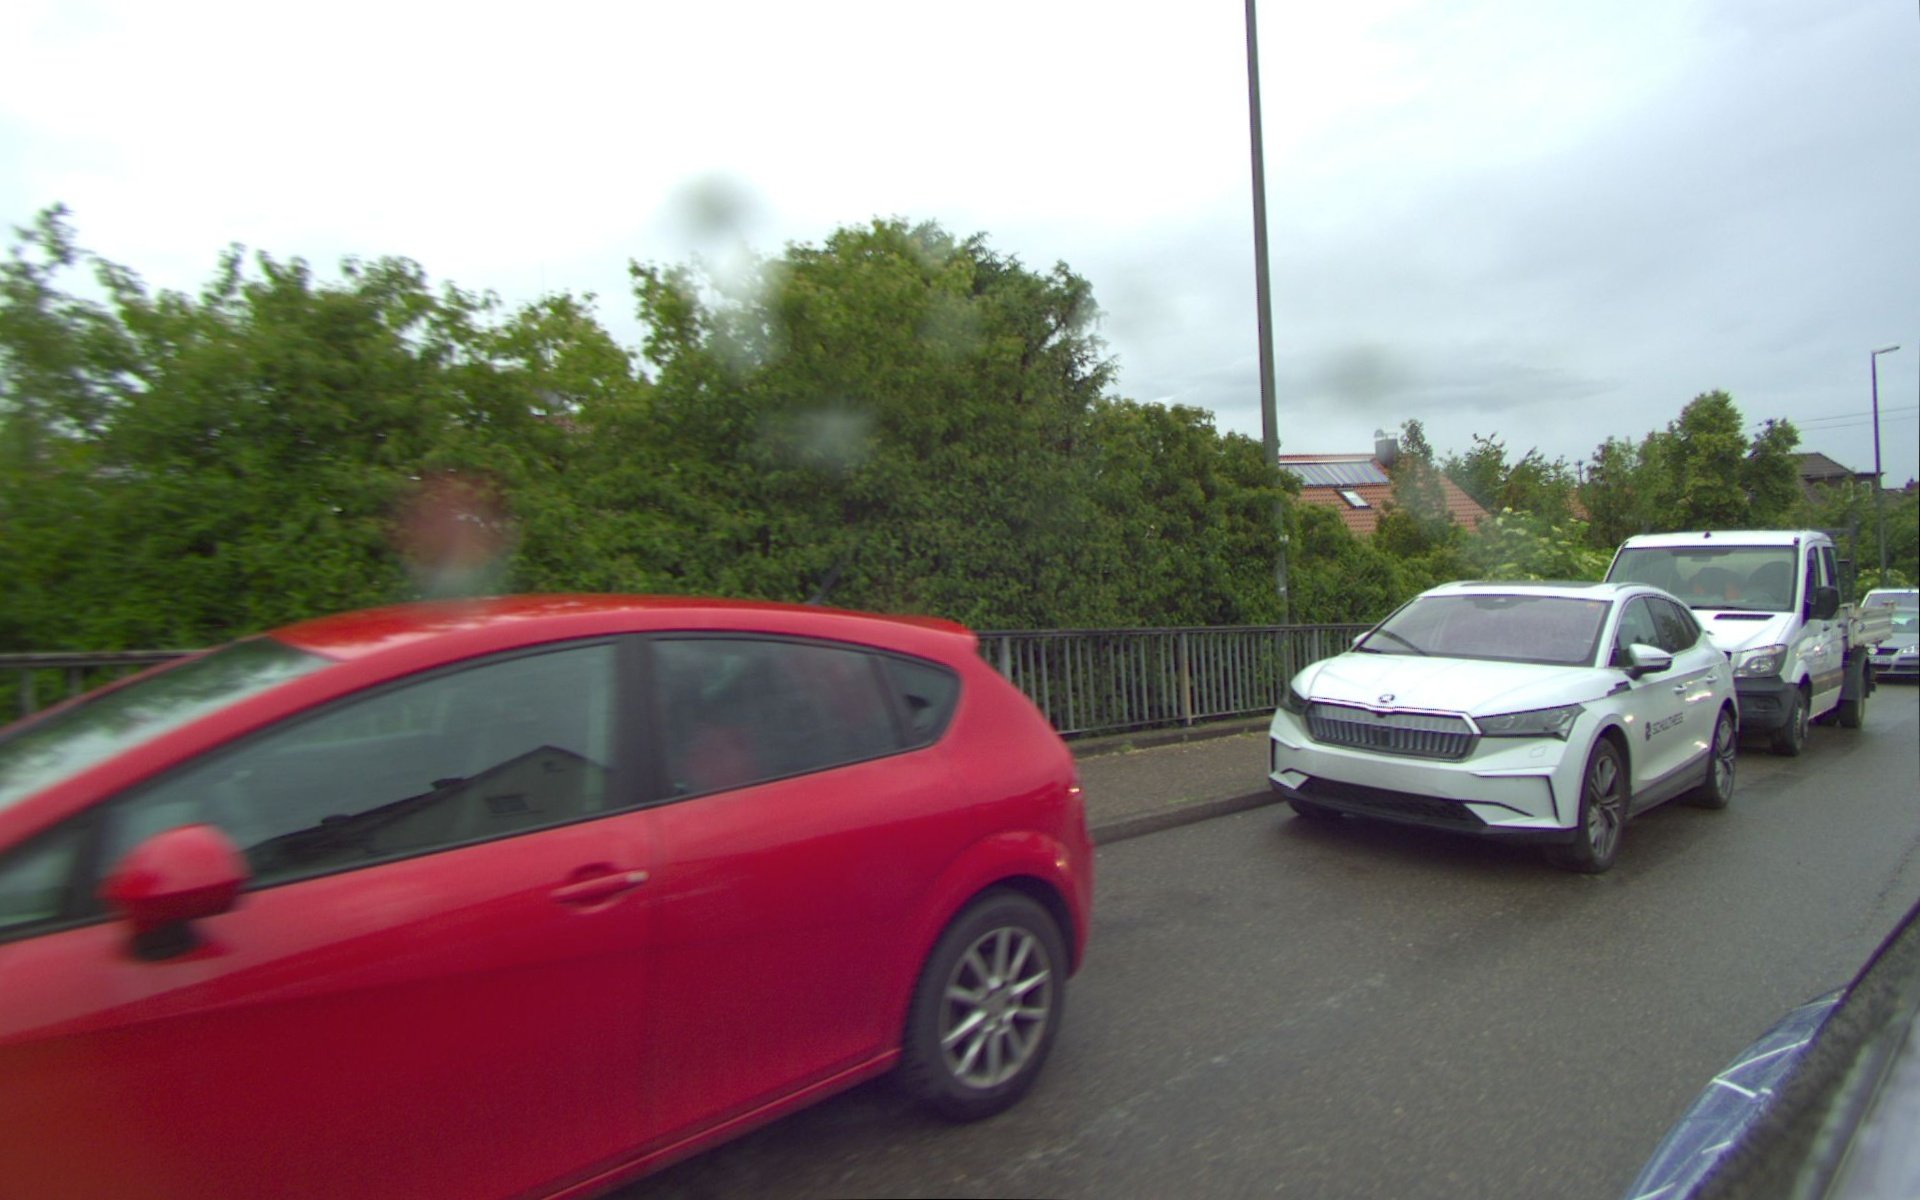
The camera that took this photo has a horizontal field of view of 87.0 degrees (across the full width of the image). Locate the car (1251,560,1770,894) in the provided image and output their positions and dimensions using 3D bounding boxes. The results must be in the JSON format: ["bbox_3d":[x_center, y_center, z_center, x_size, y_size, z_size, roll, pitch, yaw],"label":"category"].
[{"bbox_3d":[4.086,0.583,7.108,4.586,1.624,1.762,-1,1,-42],"label":"car"}]

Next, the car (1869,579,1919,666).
[{"bbox_3d":[22.939,0.469,23.873,4.829,1.905,1.851,-1,1,-43],"label":"car"}]

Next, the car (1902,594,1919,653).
[{"bbox_3d":[27.578,0.629,28.041,4.276,1.560,1.648,-1,1,-40],"label":"car"}]

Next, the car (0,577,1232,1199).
[{"bbox_3d":[-1.488,0.677,2.546,4.901,1.456,1.835,-1,1,-42],"label":"car"}]

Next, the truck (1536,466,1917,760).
[{"bbox_3d":[9.397,0.072,12.113,6.422,2.664,2.244,-1,1,-40],"label":"truck"}]

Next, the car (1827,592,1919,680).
[{"bbox_3d":[18.717,0.647,20.084,3.892,1.583,1.651,-1,1,-40],"label":"car"}]
